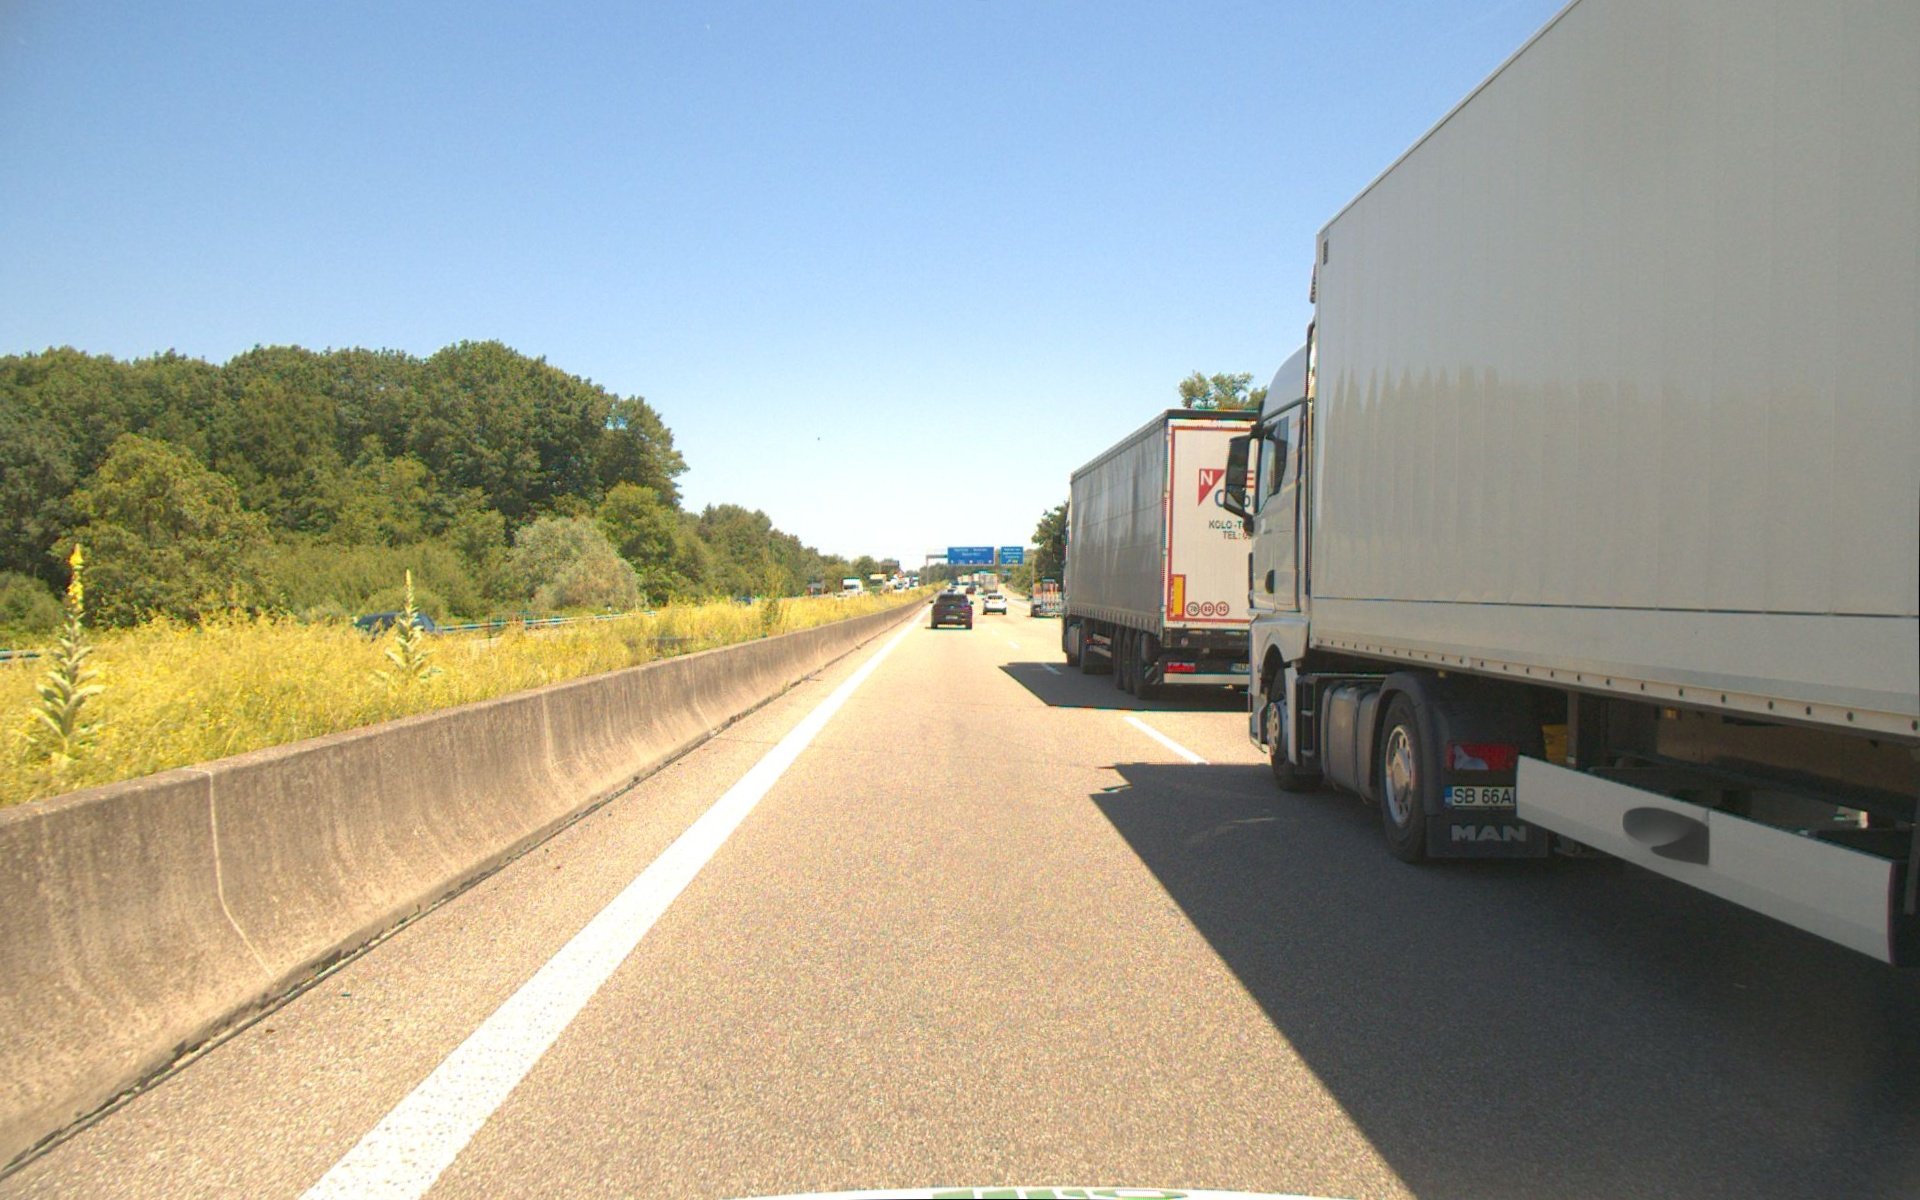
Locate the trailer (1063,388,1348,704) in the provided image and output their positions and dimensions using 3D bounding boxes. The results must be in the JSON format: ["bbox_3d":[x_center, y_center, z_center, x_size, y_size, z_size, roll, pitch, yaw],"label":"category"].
[{"bbox_3d":[3.706,-0.666,29.219,2.652,4.139,14.743,1,0,-1],"label":"trailer"}]

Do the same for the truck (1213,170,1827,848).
[{"bbox_3d":[3.856,-0.552,13.012,2.742,4.077,6.020,0,0,0],"label":"truck"}]

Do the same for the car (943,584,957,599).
[{"bbox_3d":[-1.411,-1.265,239.297,1.953,2.049,3.999,-1,0,-1],"label":"car"}]

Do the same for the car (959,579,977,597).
[{"bbox_3d":[0.904,-1.401,191.788,1.953,2.049,4.000,-1,0,-1],"label":"car"}]

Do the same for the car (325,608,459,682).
[{"bbox_3d":[-13.146,1.000,38.524,1.635,1.489,4.258,-3,0,-1],"label":"car"}]

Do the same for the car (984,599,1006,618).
[{"bbox_3d":[2.781,0.662,132.142,1.704,1.512,4.000,0,0,0],"label":"car"}]

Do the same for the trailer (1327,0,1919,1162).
[{"bbox_3d":[3.936,-0.547,4.956,2.738,4.106,12.565,0,0,-1],"label":"trailer"}]

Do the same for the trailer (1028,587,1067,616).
[{"bbox_3d":[6.417,0.100,121.904,2.371,2.049,6.032,0,1,-1],"label":"trailer"}]

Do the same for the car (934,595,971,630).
[{"bbox_3d":[-0.381,0.588,79.301,1.626,1.576,3.782,1,0,-2],"label":"car"}]

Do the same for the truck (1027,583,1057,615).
[{"bbox_3d":[6.261,-0.129,127.275,1.953,2.415,4.643,0,1,-1],"label":"truck"}]

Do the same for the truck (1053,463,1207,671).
[{"bbox_3d":[3.609,-0.636,36.577,2.645,4.165,6.452,1,0,-1],"label":"truck"}]
